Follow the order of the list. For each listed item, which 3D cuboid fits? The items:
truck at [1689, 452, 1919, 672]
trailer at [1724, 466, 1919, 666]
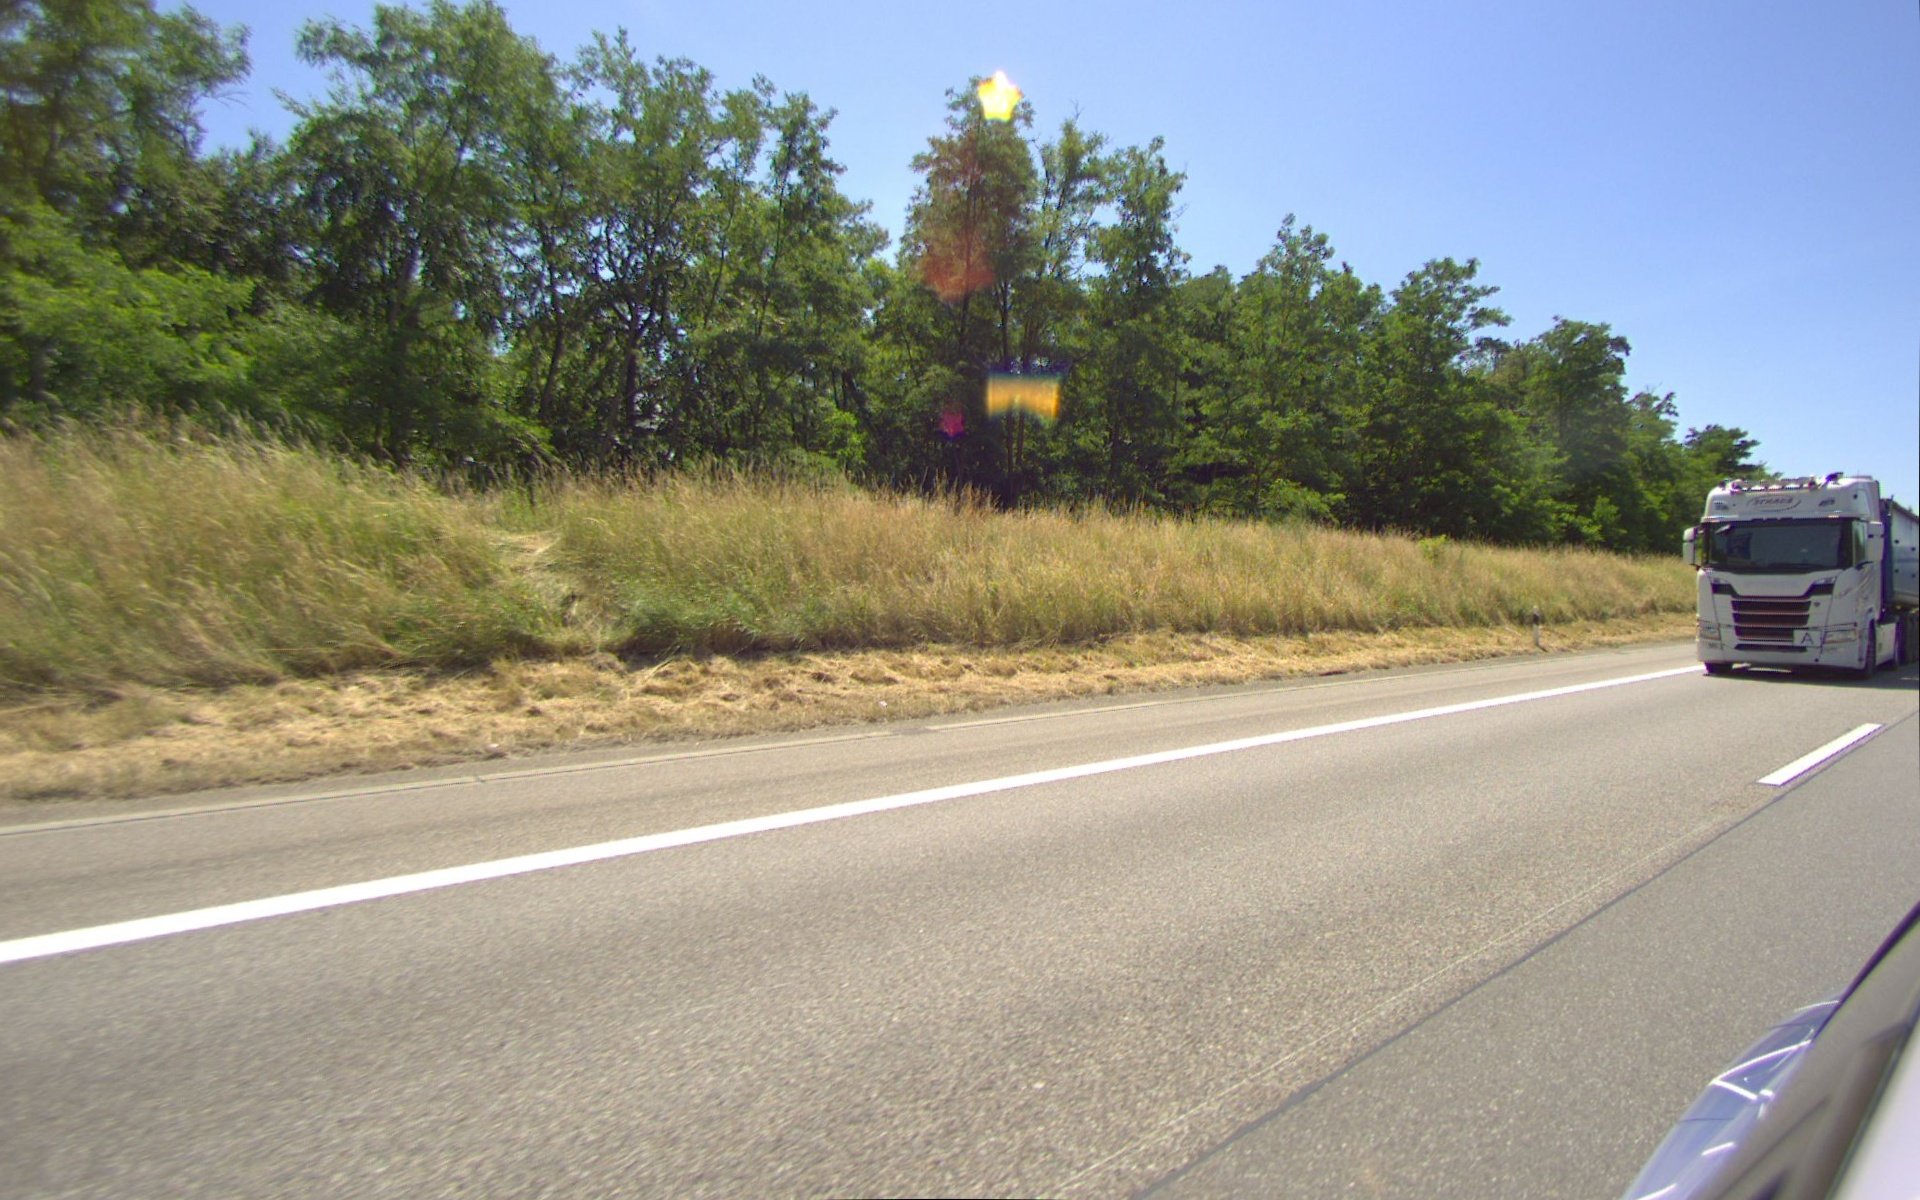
[{"bbox_3d":[17.235,-0.661,20.473,5.838,3.806,2.690,1,0,-40],"label":"truck"},{"bbox_3d":[20.422,-0.639,23.236,8.948,3.806,2.742,1,0,-41],"label":"trailer"}]
